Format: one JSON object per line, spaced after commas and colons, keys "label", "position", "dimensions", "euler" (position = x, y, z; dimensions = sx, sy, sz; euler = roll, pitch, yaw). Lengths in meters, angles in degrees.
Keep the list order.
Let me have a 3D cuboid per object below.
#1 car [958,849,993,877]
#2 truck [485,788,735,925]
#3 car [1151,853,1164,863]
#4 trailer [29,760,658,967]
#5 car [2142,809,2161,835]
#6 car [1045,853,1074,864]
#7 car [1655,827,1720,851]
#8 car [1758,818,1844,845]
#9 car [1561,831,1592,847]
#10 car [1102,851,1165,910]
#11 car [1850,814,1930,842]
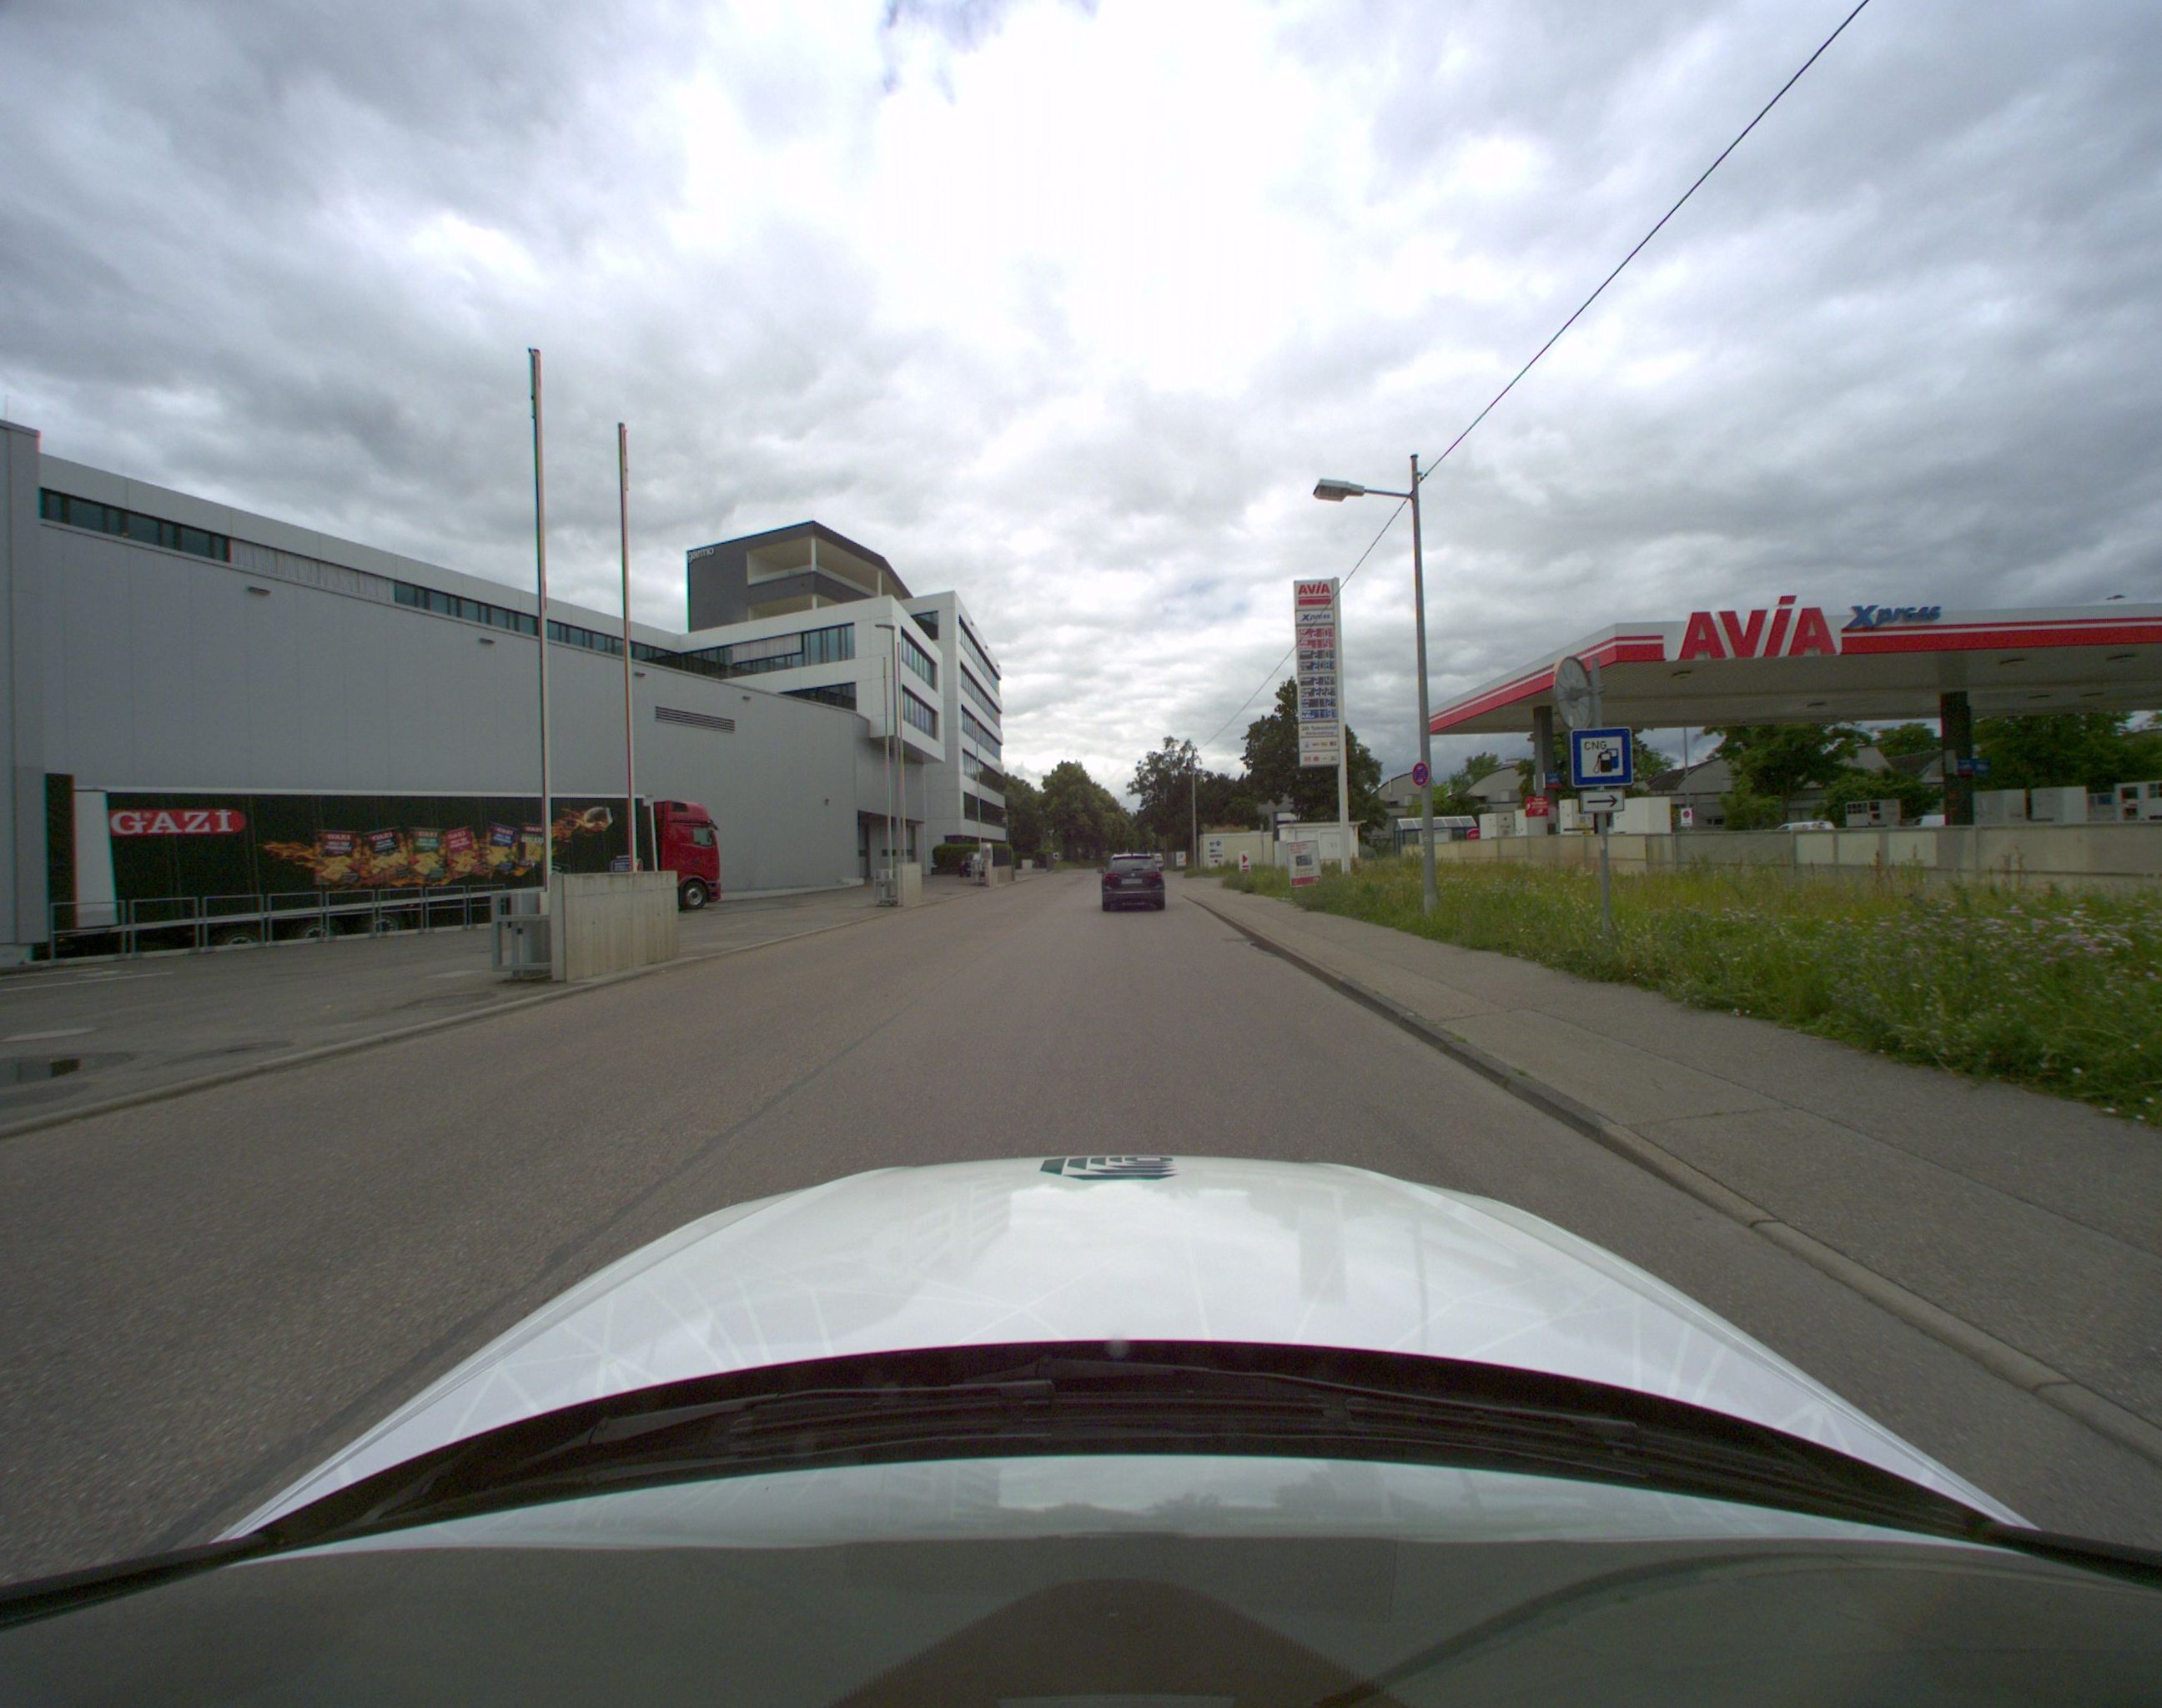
{"label": "car", "position": [-6.743, 0.568, 52.385], "dimensions": [1.643, 1.762, 3.182], "euler": [0, 0, 4]}
{"label": "truck", "position": [-15.676, 0.059, 27.835], "dimensions": [2.718, 4.031, 7.132], "euler": [-1, 0, 23]}
{"label": "car", "position": [14.192, 0.661, 150.424], "dimensions": [1.981, 1.786, 4.012], "euler": [-1, 0, 11]}
{"label": "trailer", "position": [-18.053, 0.126, 22.208], "dimensions": [2.718, 4.031, 12.687], "euler": [-1, 0, 23]}
{"label": "car", "position": [68.109, -2.037, 49.850], "dimensions": [1.940, 1.651, 4.353], "euler": [-3, 0, 24]}
{"label": "car", "position": [-4.742, 0.978, 178.186], "dimensions": [6.042, 2.387, 2.398], "euler": [-2, 0, 4]}
{"label": "car", "position": [42.066, -1.038, 56.573], "dimensions": [1.725, 1.530, 3.887], "euler": [-2, 0, 3]}
{"label": "car", "position": [50.430, -1.547, 57.194], "dimensions": [1.955, 1.645, 4.655], "euler": [-2, 0, 1]}
{"label": "car", "position": [49.154, -1.512, 80.820], "dimensions": [1.888, 1.521, 4.086], "euler": [-3, 0, 21]}
{"label": "car", "position": [1.592, 0.762, 24.271], "dimensions": [1.731, 1.618, 3.645], "euler": [-1, -1, 5]}
{"label": "car", "position": [56.061, -1.745, 56.556], "dimensions": [2.076, 1.737, 4.908], "euler": [-3, 0, 21]}
